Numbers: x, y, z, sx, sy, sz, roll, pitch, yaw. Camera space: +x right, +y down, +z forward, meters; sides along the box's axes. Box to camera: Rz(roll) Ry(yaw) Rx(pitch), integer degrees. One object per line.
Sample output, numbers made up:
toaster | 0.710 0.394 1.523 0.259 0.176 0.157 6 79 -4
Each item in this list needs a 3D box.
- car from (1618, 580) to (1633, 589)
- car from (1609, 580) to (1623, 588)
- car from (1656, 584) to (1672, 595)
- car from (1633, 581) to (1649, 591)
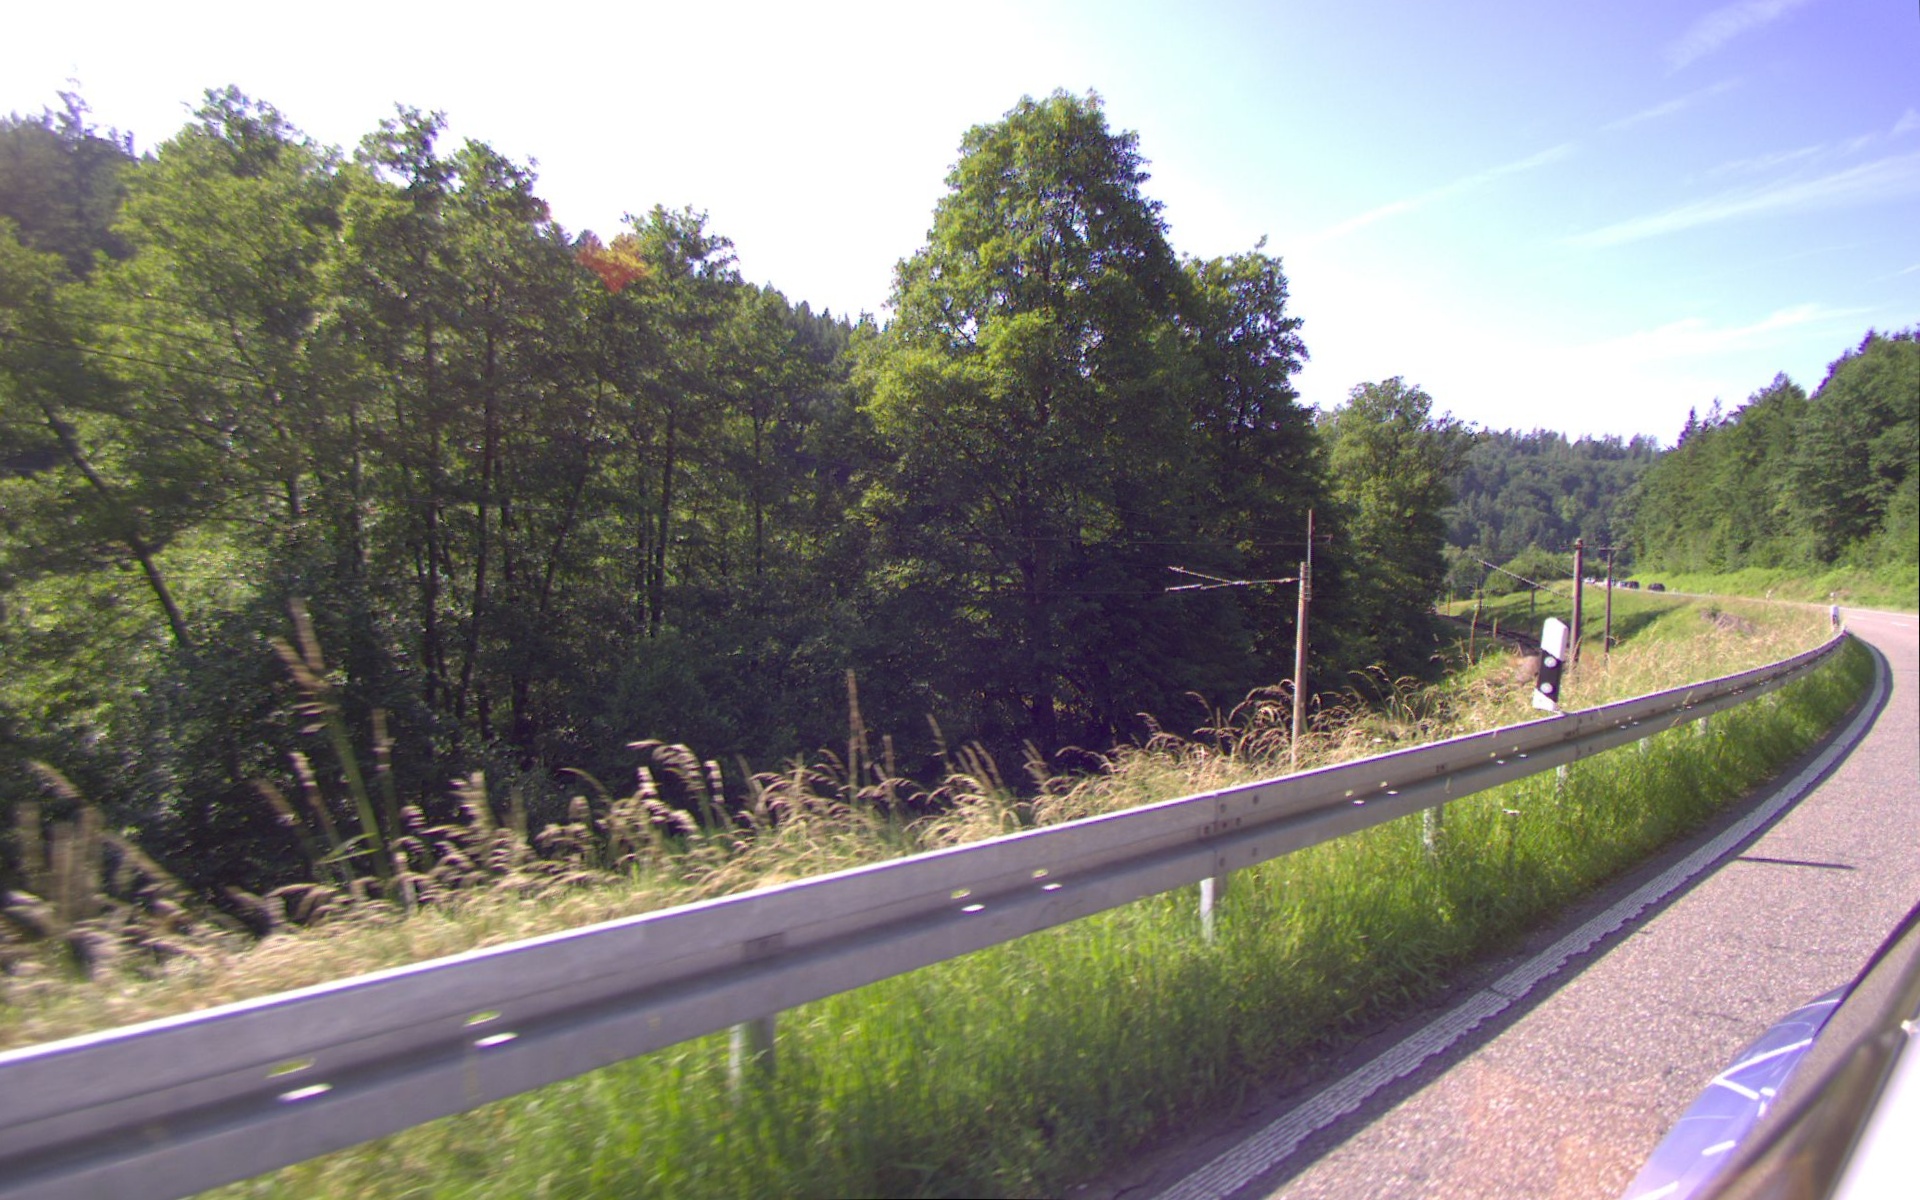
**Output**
car | 121.221 -2.858 184.348 1.823 1.448 4.631 3 3 29
car | 135.031 -3.289 208.279 1.982 1.703 4.859 2 2 28
car | 105.942 -1.595 152.356 1.850 1.548 3.954 1 1 33
car | 114.886 -2.457 170.809 1.823 1.649 4.306 1 1 30
